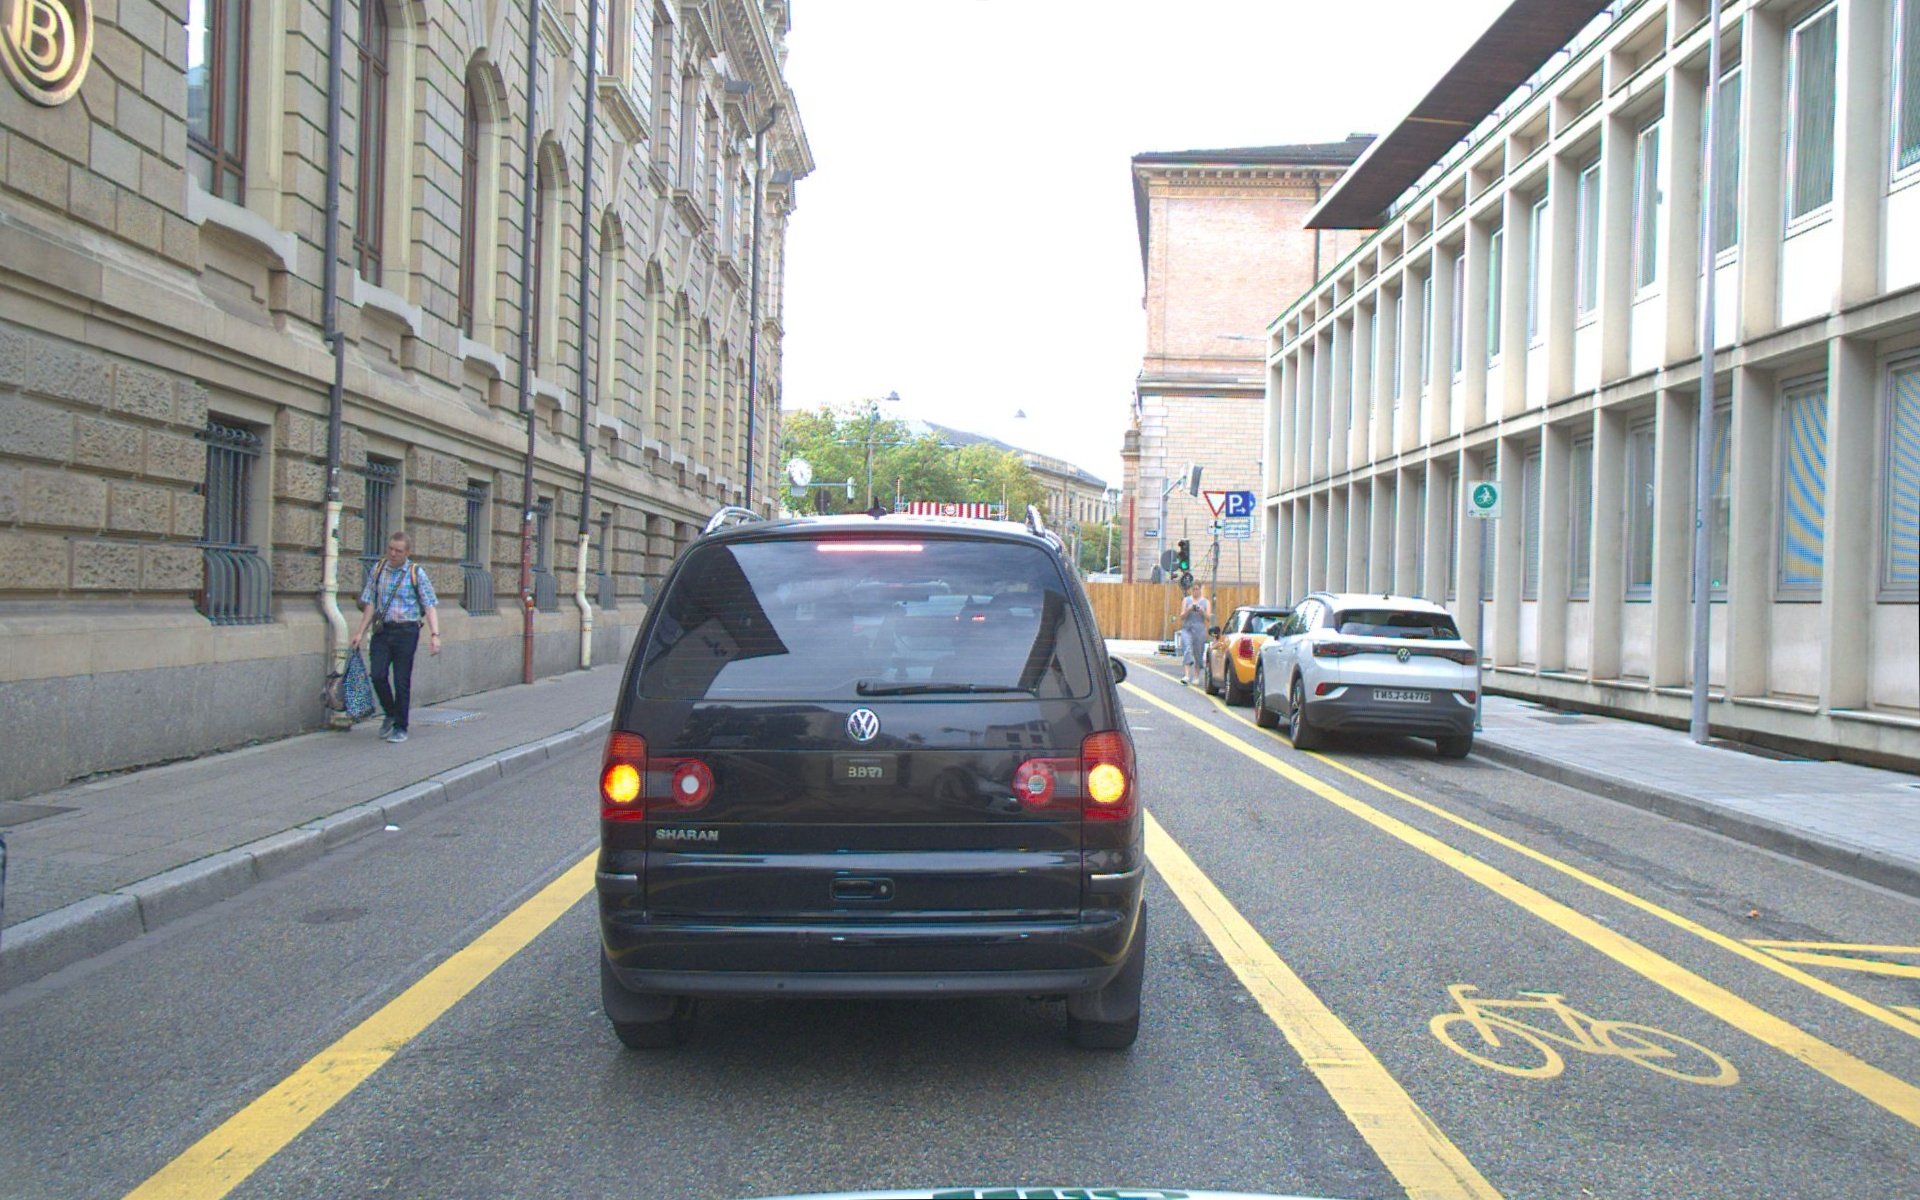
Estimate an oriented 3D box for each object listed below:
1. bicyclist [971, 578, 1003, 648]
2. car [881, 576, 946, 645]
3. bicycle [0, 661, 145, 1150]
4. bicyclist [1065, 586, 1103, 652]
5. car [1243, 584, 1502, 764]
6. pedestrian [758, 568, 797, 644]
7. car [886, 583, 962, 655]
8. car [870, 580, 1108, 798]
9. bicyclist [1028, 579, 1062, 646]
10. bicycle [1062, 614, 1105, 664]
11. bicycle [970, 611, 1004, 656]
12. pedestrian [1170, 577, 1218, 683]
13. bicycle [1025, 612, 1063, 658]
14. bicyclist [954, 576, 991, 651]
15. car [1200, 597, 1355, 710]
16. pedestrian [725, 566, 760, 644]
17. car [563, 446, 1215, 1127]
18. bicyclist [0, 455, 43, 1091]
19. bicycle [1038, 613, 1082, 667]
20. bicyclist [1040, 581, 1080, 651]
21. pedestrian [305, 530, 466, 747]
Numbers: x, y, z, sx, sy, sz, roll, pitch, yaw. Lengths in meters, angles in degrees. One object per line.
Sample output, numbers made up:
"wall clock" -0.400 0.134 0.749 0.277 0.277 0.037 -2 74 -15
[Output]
"bicyclist" 0.640 0.307 39.156 0.720 1.640 0.695 1 -1 -1
"car" -1.369 0.293 47.251 1.700 1.821 4.100 2 0 -4
"bicycle" -2.871 0.823 4.088 0.633 1.262 1.954 -1 0 3
"bicyclist" 2.667 0.408 35.585 0.720 1.399 0.831 1 0 -1
"car" 4.457 0.737 18.585 1.822 1.633 4.513 4 0 2
"pedestrian" -4.610 0.148 41.820 0.776 1.851 1.048 3 -1 -1
"car" -0.870 0.448 40.254 1.737 1.613 3.999 1 0 -1
"car" 0.278 0.635 13.728 1.643 1.495 4.104 2 0 2
"bicyclist" 1.950 0.285 38.114 0.720 1.495 0.808 1 0 -1
"bicycle" 2.656 0.819 35.676 0.720 1.026 2.068 1 0 -1
"bicycle" 0.635 0.777 39.127 0.720 1.026 2.068 1 0 -1
"pedestrian" 4.065 0.516 28.766 0.689 1.794 0.700 1 -1 -1
"bicycle" 1.933 0.795 38.185 0.720 1.026 2.068 1 0 -1
"bicyclist" 0.244 0.277 34.085 0.720 1.504 0.884 1 0 -1
"car" 4.721 0.753 25.083 1.645 1.459 3.887 4 0 2
"pedestrian" -5.335 0.131 40.627 0.650 1.851 1.048 3 -1 -1
"car" -0.127 0.515 6.606 1.752 1.821 4.104 1 0 2
"bicyclist" -2.879 0.460 4.097 0.629 1.682 0.940 -1 0 3
"bicycle" 2.004 0.788 33.422 0.720 1.026 2.068 1 0 -1
"bicyclist" 2.015 0.319 33.461 0.720 1.401 0.828 1 0 -1
"pedestrian" -4.916 0.325 14.219 1.005 1.750 0.818 3 -1 -1
